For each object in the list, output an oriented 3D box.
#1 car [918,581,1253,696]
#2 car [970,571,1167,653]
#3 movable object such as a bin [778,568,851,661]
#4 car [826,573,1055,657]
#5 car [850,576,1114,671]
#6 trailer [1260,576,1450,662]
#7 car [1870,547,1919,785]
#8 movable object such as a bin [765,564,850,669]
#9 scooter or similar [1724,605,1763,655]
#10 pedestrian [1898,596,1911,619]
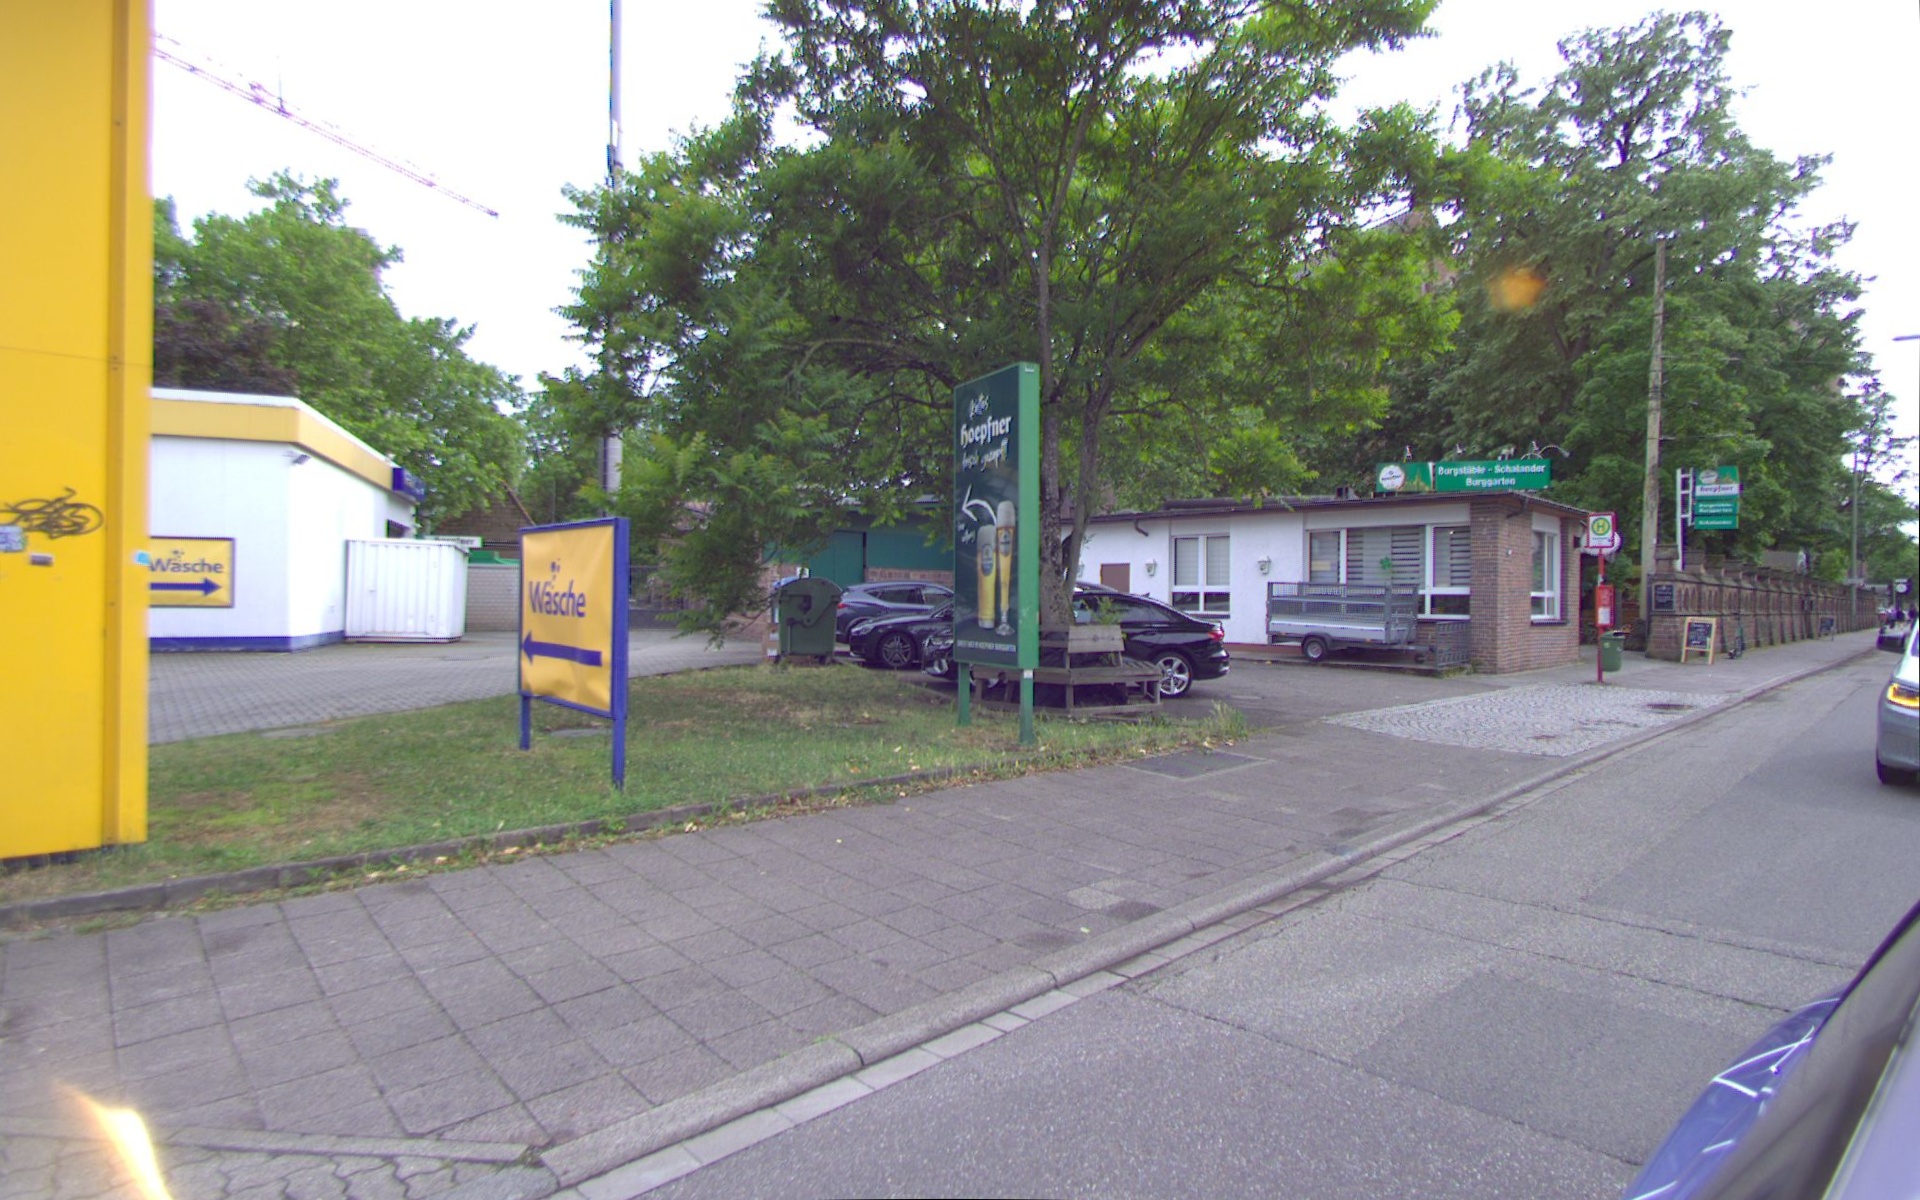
[{"bbox_3d":[1.687,0.510,14.648,4.497,1.425,1.935,2,0,0],"label":"car"},{"bbox_3d":[2.367,0.231,23.137,1.955,1.667,4.434,0,0,-38],"label":"car"},{"bbox_3d":[-2.498,0.260,17.604,1.102,1.510,1.295,3,-2,-4],"label":"movable object such as a bin"},{"bbox_3d":[-0.447,0.289,20.581,4.401,1.477,1.988,2,0,-5],"label":"car"},{"bbox_3d":[0.346,0.387,18.166,4.454,1.445,1.879,2,3,-1],"label":"car"},{"bbox_3d":[7.759,0.328,20.034,1.593,1.558,3.165,0,1,-43],"label":"trailer"},{"bbox_3d":[9.646,0.533,8.852,4.849,1.830,1.849,1,0,-40],"label":"car"},{"bbox_3d":[-2.413,0.259,16.234,1.102,1.533,1.422,4,-1,-2],"label":"movable object such as a bin"},{"bbox_3d":[20.915,0.785,27.010,1.386,1.254,0.577,0,3,-44],"label":"scooter or similar"},{"bbox_3d":[77.596,0.637,83.132,0.721,1.867,0.884,2,2,43],"label":"pedestrian"}]
